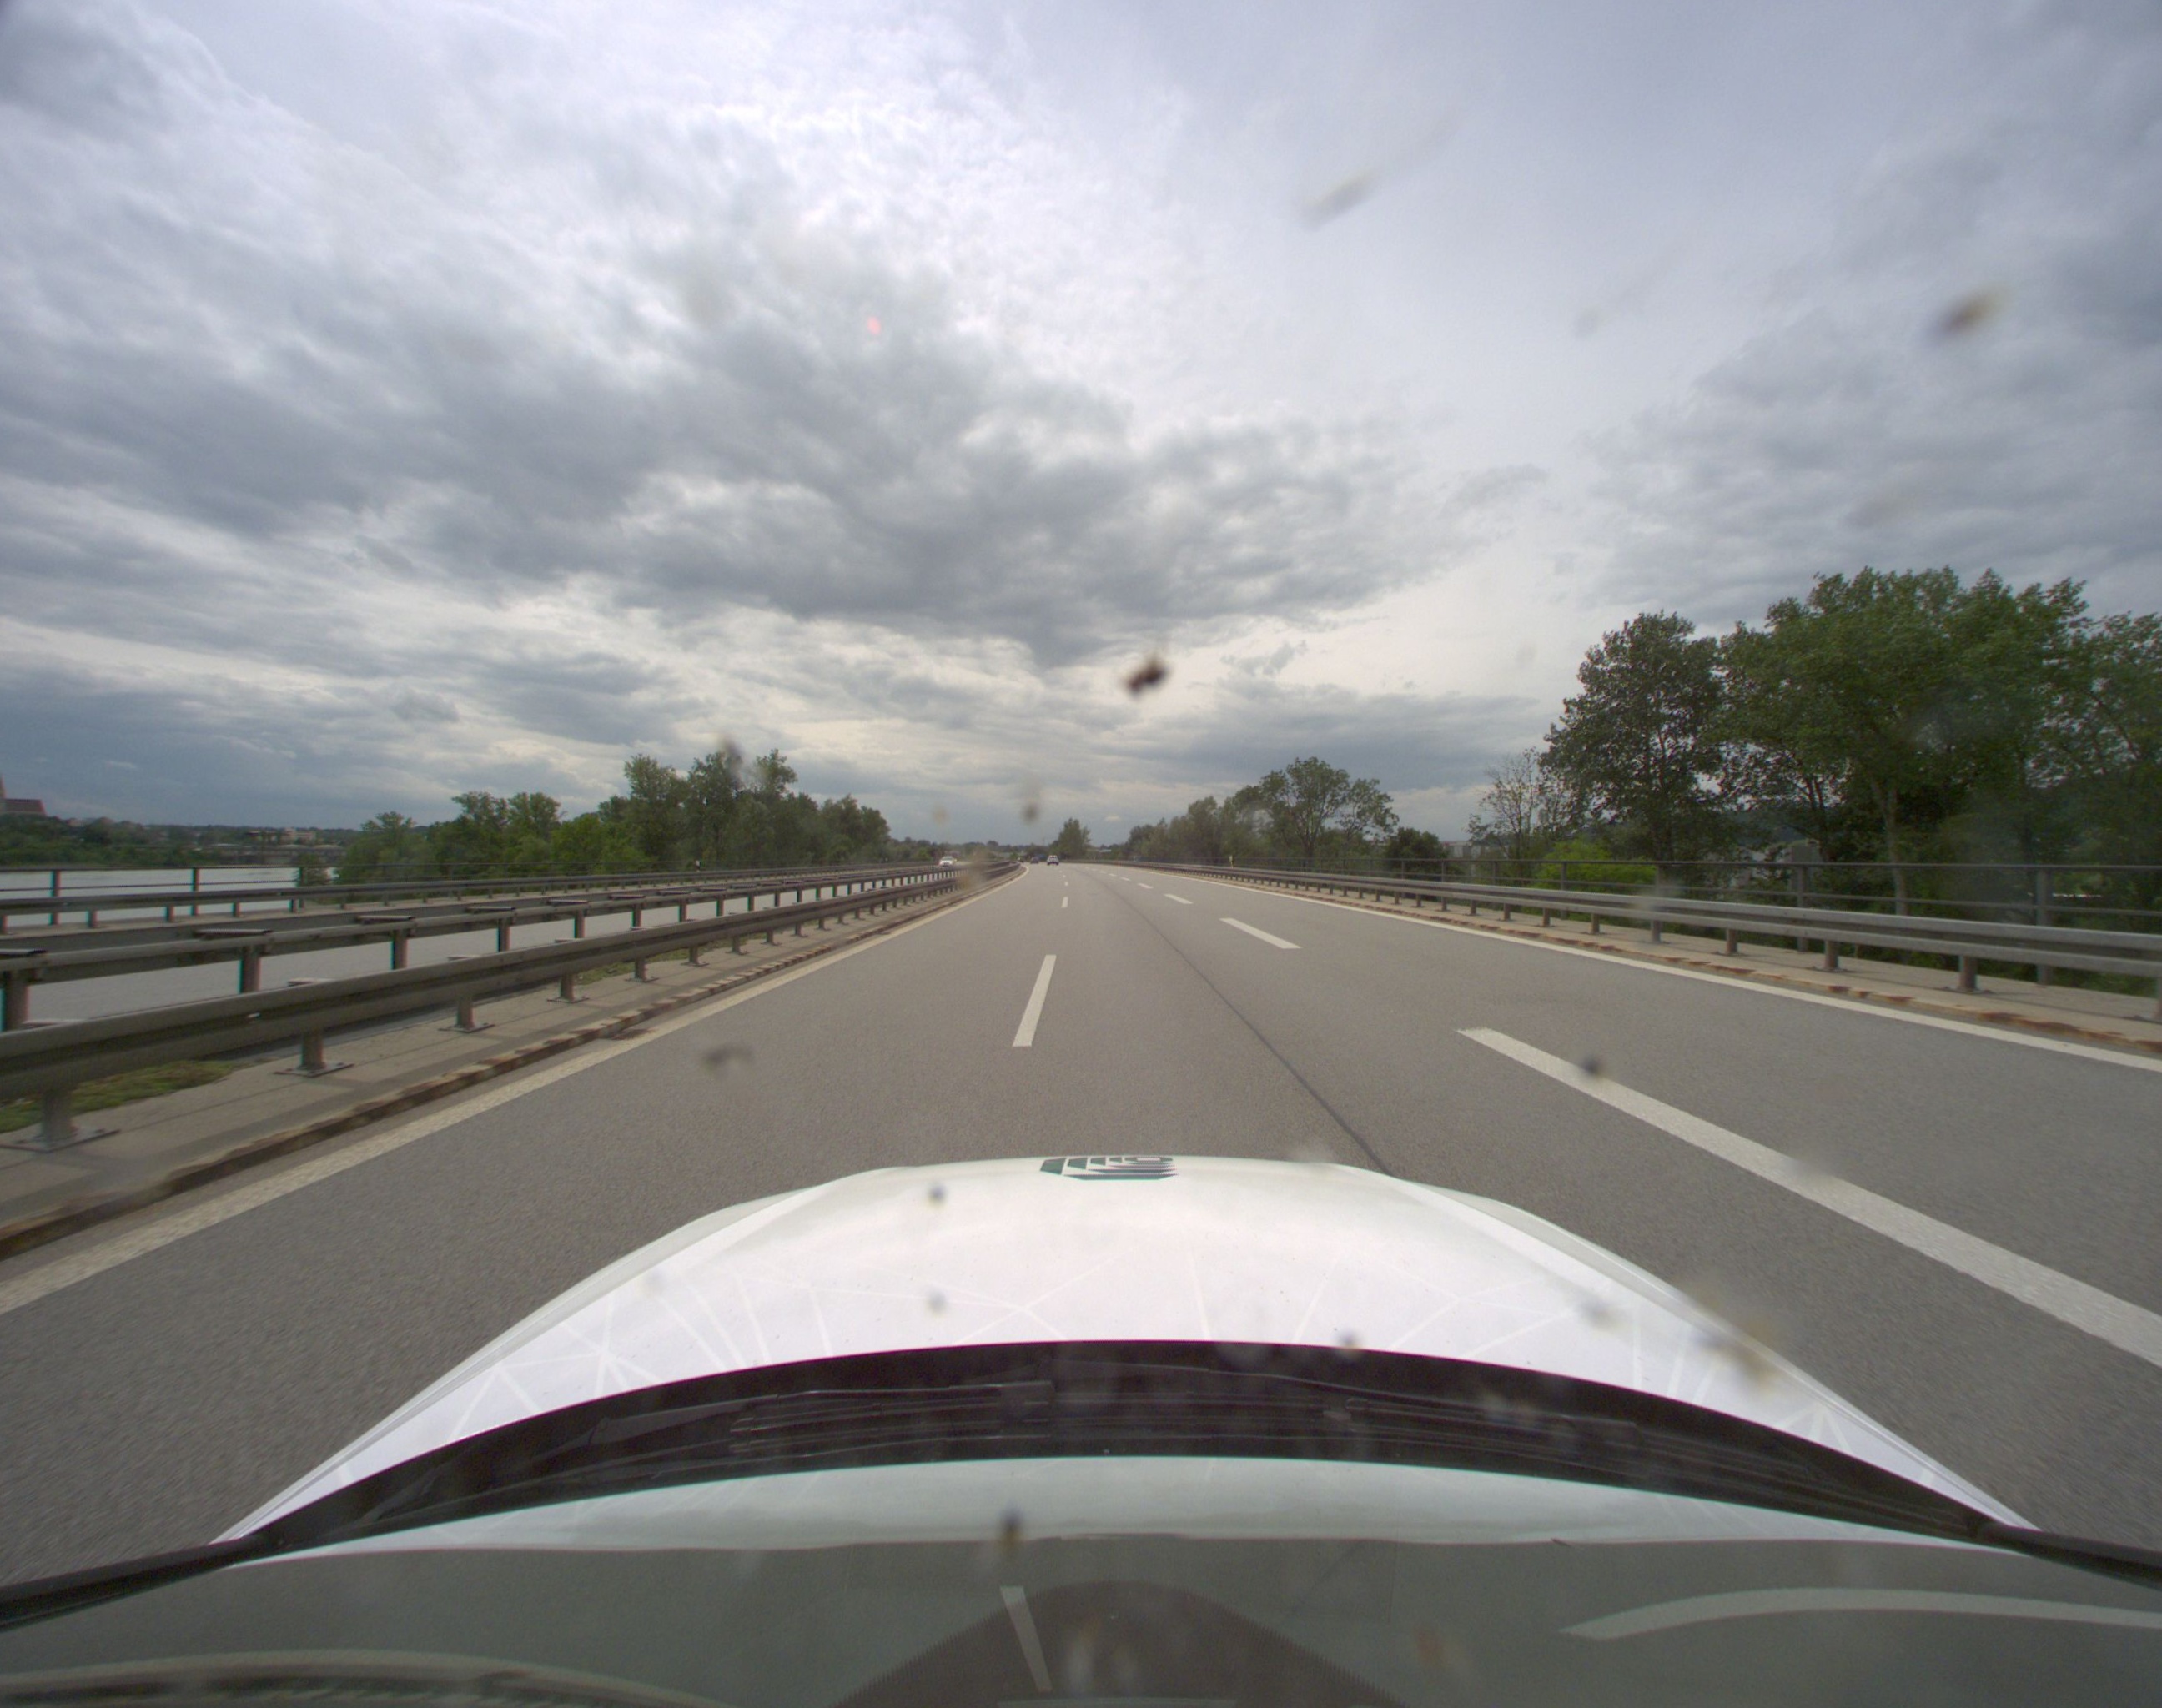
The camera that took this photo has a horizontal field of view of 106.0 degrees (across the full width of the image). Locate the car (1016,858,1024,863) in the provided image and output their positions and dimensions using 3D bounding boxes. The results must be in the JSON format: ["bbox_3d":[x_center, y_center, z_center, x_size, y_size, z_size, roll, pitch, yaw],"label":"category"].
[{"bbox_3d":[-17.274,1.847,230.762,1.901,1.640,4.766,0,-1,-8],"label":"car"}]

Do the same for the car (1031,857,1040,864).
[{"bbox_3d":[-10.570,1.559,189.165,1.891,1.640,4.610,0,0,-7],"label":"car"}]

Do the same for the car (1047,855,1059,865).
[{"bbox_3d":[-4.899,1.069,142.203,1.899,1.640,4.388,0,0,-5],"label":"car"}]

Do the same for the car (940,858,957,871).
[{"bbox_3d":[-16.060,1.263,98.809,1.527,1.407,4.325,0,0,-2],"label":"car"}]
